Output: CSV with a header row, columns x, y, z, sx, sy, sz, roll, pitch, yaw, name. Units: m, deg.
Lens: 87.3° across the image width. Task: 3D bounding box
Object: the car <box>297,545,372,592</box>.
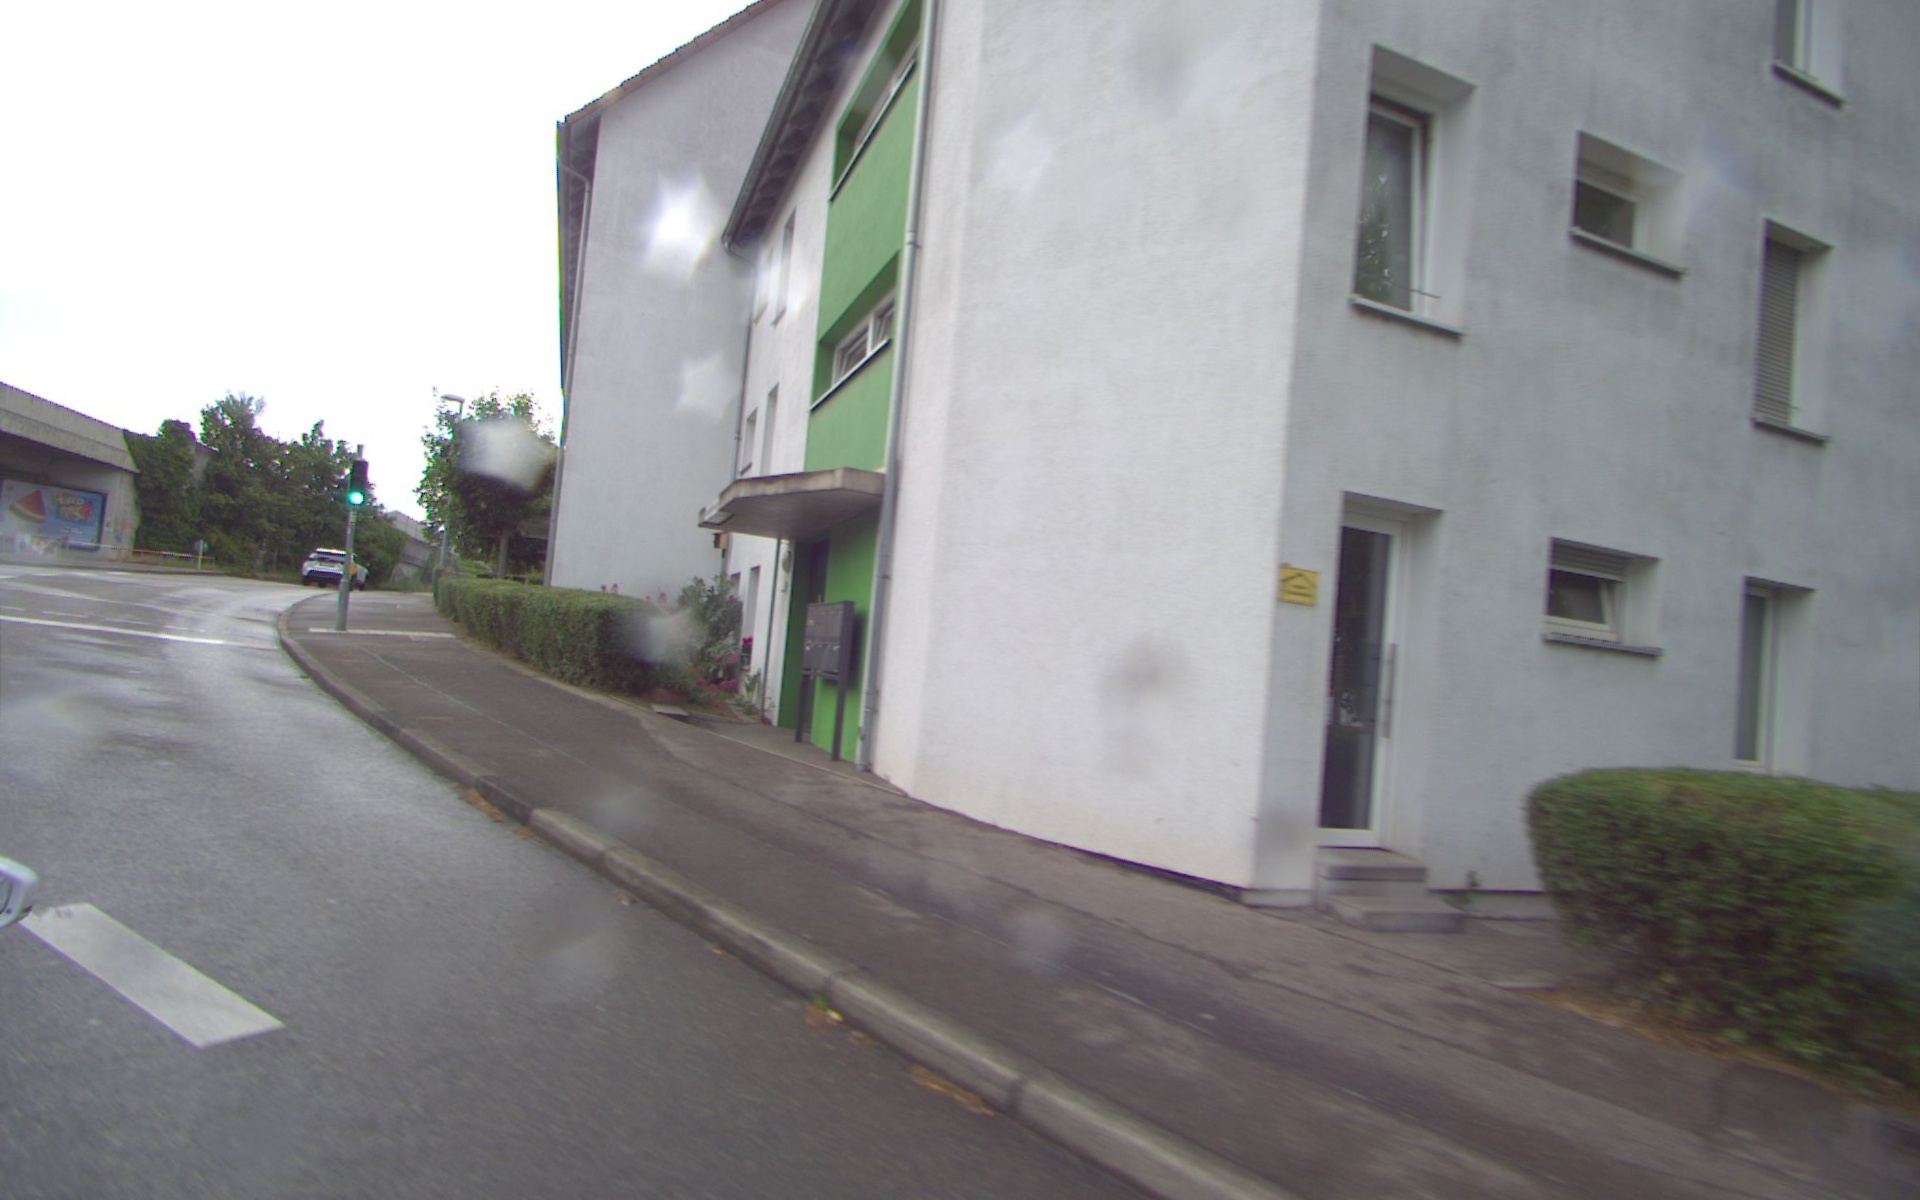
x,y,z,sx,sy,sz,roll,pitch,yaw,name
-25.293,-1.259,40.824,1.858,1.547,3.979,8,-2,-24,car
